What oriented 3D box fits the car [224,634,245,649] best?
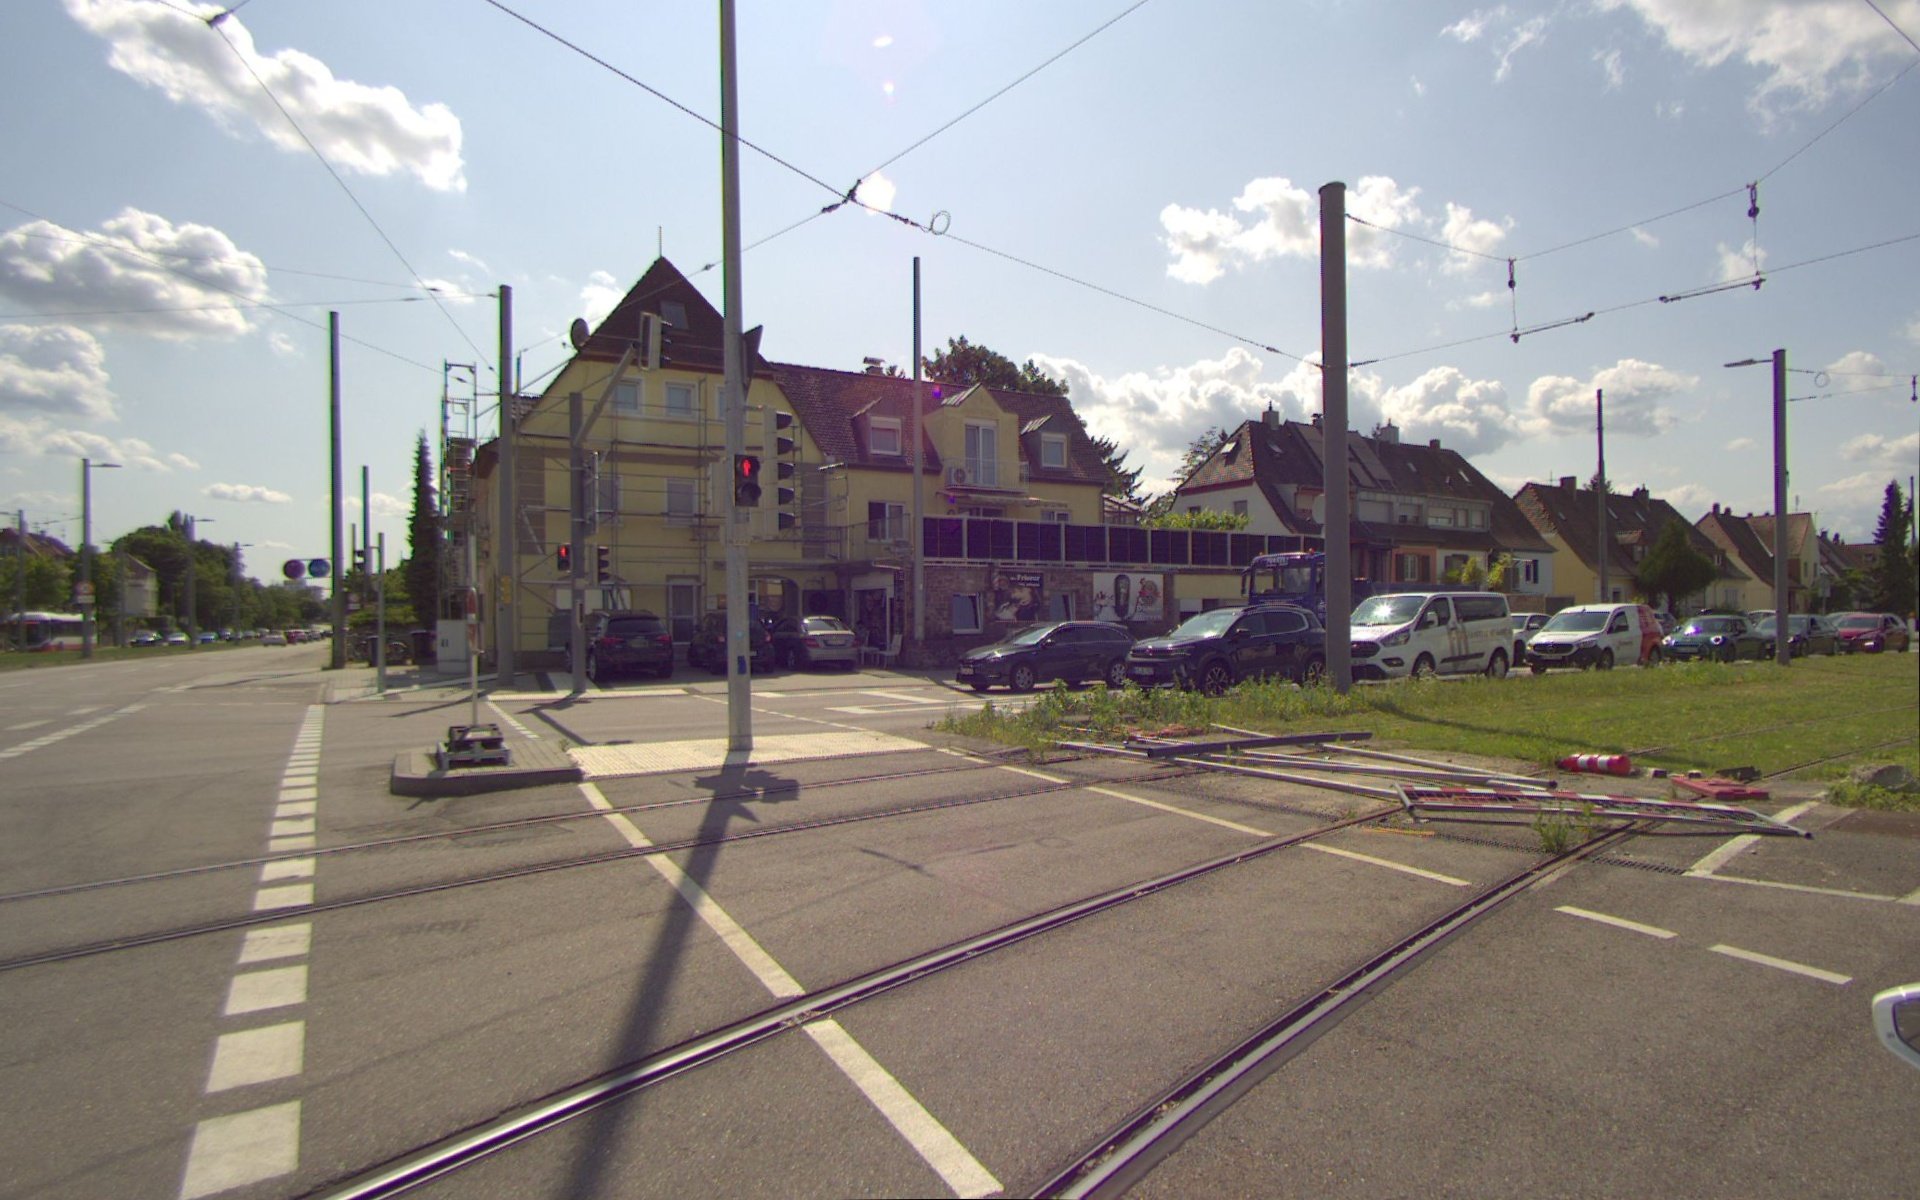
[{"bbox_3d":[-104.216,5.975,144.232,1.976,2.040,3.969,-1,-1,-30],"label":"car"}]

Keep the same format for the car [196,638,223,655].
[{"bbox_3d":[-94.040,5.794,125.963,1.974,2.040,3.974,-1,-1,-26],"label":"car"}]

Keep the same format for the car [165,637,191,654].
[{"bbox_3d":[-101.191,5.899,130.013,1.976,2.040,3.970,-1,-1,-29],"label":"car"}]

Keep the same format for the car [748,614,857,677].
[{"bbox_3d":[-4.463,1.191,27.992,1.420,1.513,4.109,0,1,-34],"label":"car"}]

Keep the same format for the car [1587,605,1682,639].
[{"bbox_3d":[36.831,1.186,54.922,1.588,1.512,3.926,0,4,-35],"label":"car"}]

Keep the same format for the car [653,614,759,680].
[{"bbox_3d":[-6.831,1.173,26.740,1.491,1.513,4.109,0,1,-34],"label":"car"}]

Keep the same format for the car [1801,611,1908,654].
[{"bbox_3d":[33.474,1.168,37.561,4.805,1.513,1.832,0,-1,-34],"label":"car"}]

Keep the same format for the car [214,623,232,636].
[{"bbox_3d":[-117.950,4.674,160.794,1.978,2.040,3.965,0,-1,-32],"label":"car"}]

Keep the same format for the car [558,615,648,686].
[{"bbox_3d":[-8.988,1.194,25.128,1.167,1.513,4.109,0,1,-34],"label":"car"}]

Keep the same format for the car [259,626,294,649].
[{"bbox_3d":[-63.794,3.515,93.841,1.972,2.040,3.977,-1,-1,-24],"label":"car"}]

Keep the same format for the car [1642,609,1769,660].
[{"bbox_3d":[22.423,1.005,30.183,3.959,1.437,1.903,0,-1,-35],"label":"car"}]

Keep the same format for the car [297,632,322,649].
[{"bbox_3d":[-81.485,5.049,125.827,1.972,2.040,3.977,-1,-1,-24],"label":"car"}]

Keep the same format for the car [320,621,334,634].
[{"bbox_3d":[-104.035,4.531,165.051,1.978,2.040,3.965,0,-1,-32],"label":"car"}]

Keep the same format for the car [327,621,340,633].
[{"bbox_3d":[-112.714,4.822,180.785,1.978,2.040,3.965,0,-1,-32],"label":"car"}]

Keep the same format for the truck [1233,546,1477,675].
[{"bbox_3d":[11.323,0.320,28.487,7.506,3.230,2.751,0,-1,-35],"label":"truck"}]

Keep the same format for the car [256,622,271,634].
[{"bbox_3d":[-119.834,4.790,172.825,1.978,2.040,3.965,0,-1,-32],"label":"car"}]

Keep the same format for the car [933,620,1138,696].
[{"bbox_3d":[1.700,1.202,22.095,4.285,1.506,1.818,0,-1,-32],"label":"car"}]

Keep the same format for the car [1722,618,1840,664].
[{"bbox_3d":[27.739,1.333,33.886,4.866,1.432,1.832,0,-1,-35],"label":"car"}]

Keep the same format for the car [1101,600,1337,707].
[{"bbox_3d":[4.896,0.921,18.773,4.393,1.743,1.776,-1,-1,-33],"label":"car"}]

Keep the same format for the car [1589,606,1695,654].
[{"bbox_3d":[25.788,1.103,37.950,4.460,1.691,1.832,0,-1,-35],"label":"car"}]

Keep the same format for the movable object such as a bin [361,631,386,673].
[{"bbox_3d":[-18.459,1.636,31.629,0.674,1.277,0.678,-1,0,-30],"label":"movable object such as a bin"}]

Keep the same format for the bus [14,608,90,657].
[{"bbox_3d":[-75.701,2.657,83.993,2.373,3.827,11.923,0,-1,-31],"label":"bus"}]

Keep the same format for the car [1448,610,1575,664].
[{"bbox_3d":[18.277,1.175,33.236,4.389,1.681,1.833,0,-1,-33],"label":"car"}]

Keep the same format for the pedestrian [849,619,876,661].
[{"bbox_3d":[-2.952,1.194,30.393,0.570,1.236,0.602,0,1,-42],"label":"pedestrian"}]

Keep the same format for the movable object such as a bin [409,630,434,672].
[{"bbox_3d":[-17.294,1.627,32.247,0.674,1.277,0.678,-1,0,-30],"label":"movable object such as a bin"}]

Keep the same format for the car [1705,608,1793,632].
[{"bbox_3d":[51.127,1.275,65.143,1.970,1.486,4.084,0,-1,-33],"label":"car"}]

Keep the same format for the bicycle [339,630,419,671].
[{"bbox_3d":[-21.019,1.824,36.413,2.425,1.374,0.771,0,0,-26],"label":"bicycle"}]

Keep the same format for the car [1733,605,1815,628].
[{"bbox_3d":[54.478,1.086,67.309,1.686,1.417,3.963,-1,0,-33],"label":"car"}]

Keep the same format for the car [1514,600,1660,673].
[{"bbox_3d":[16.726,0.935,26.716,4.360,1.805,1.722,0,-1,-35],"label":"car"}]

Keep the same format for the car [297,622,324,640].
[{"bbox_3d":[-75.508,3.636,116.845,1.972,2.040,3.977,-1,-1,-24],"label":"car"}]

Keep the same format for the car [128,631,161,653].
[{"bbox_3d":[-80.210,4.080,98.807,1.977,2.040,3.967,0,-1,-31],"label":"car"}]

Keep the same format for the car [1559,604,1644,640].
[{"bbox_3d":[33.766,1.132,52.909,1.588,1.616,3.362,0,4,-35],"label":"car"}]

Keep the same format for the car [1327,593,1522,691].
[{"bbox_3d":[10.300,0.861,22.147,4.700,1.947,1.803,0,-1,-35],"label":"car"}]
